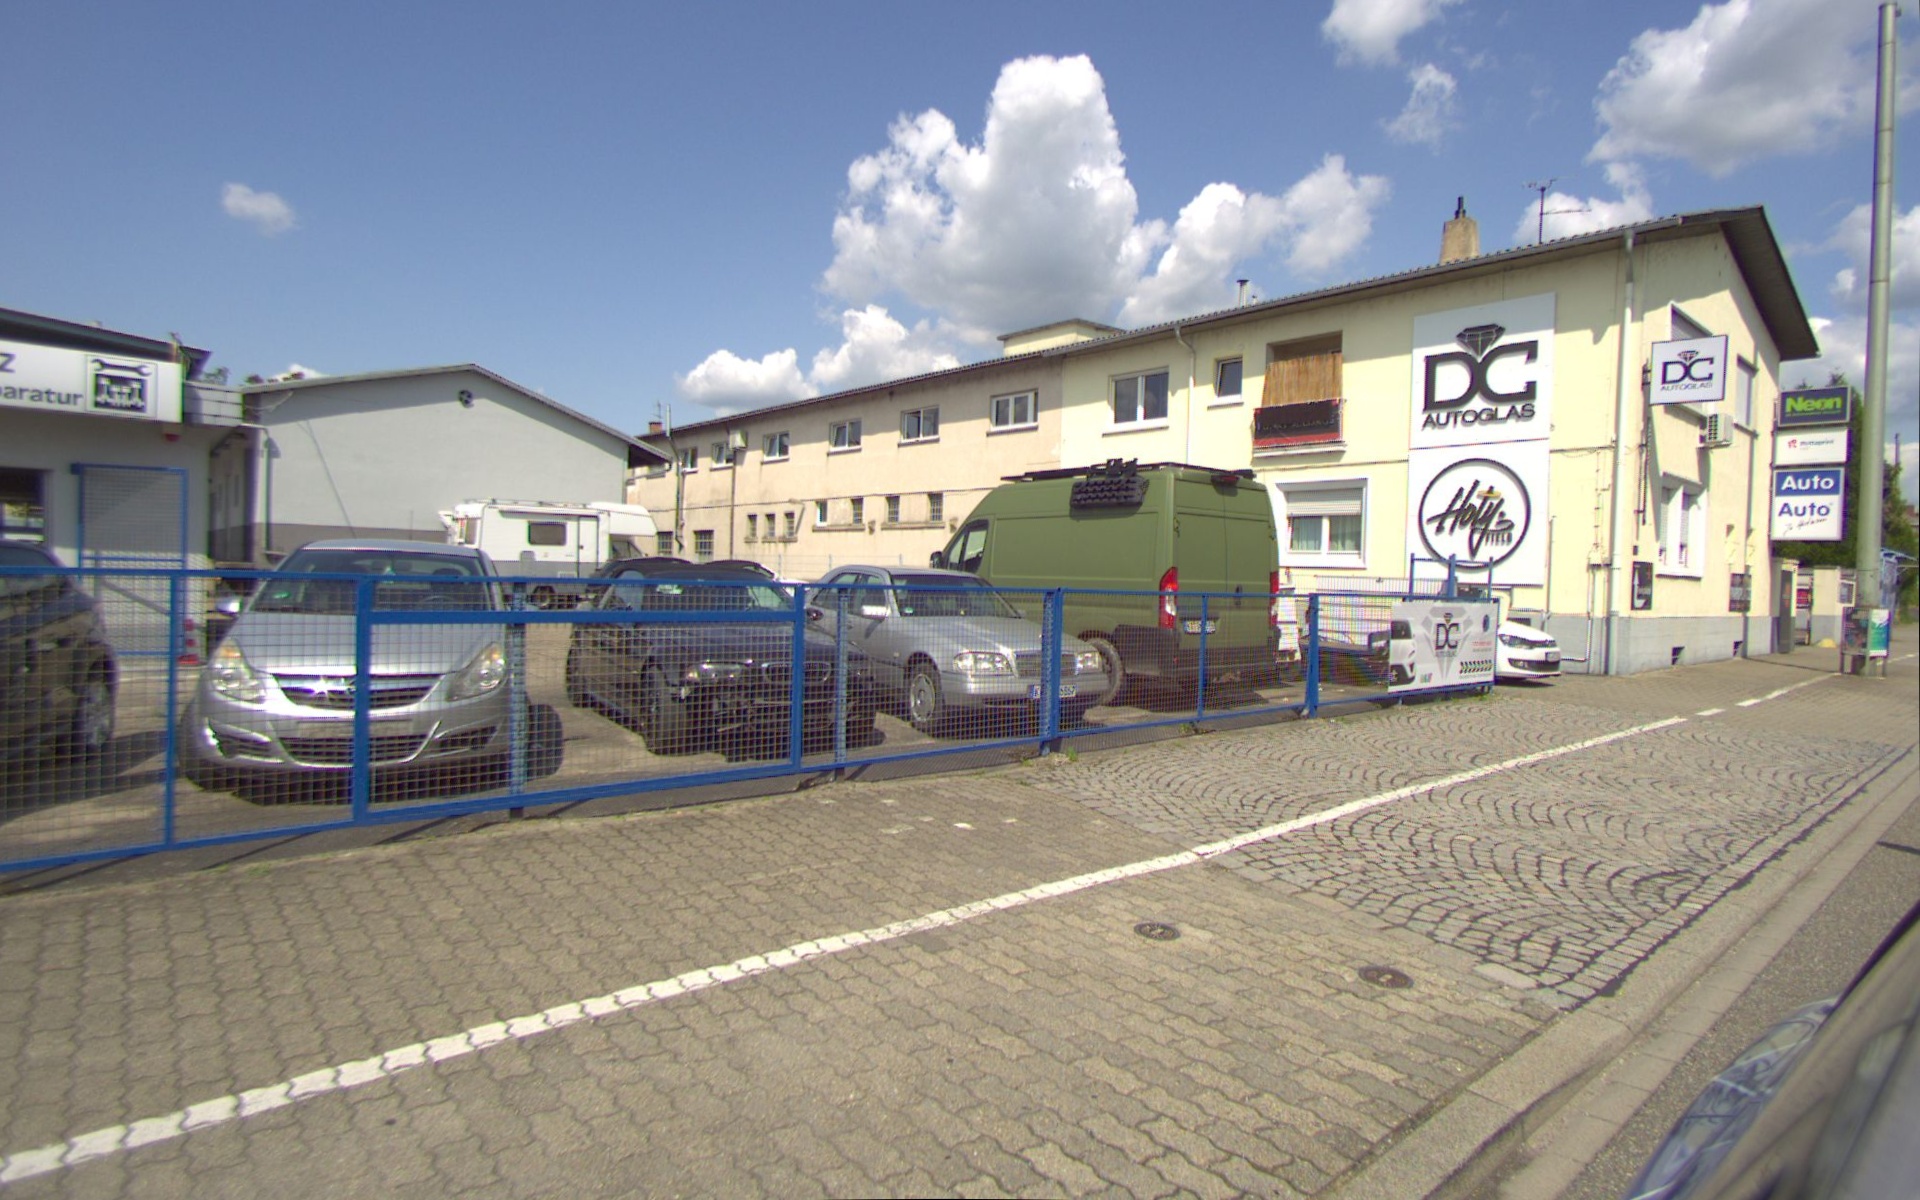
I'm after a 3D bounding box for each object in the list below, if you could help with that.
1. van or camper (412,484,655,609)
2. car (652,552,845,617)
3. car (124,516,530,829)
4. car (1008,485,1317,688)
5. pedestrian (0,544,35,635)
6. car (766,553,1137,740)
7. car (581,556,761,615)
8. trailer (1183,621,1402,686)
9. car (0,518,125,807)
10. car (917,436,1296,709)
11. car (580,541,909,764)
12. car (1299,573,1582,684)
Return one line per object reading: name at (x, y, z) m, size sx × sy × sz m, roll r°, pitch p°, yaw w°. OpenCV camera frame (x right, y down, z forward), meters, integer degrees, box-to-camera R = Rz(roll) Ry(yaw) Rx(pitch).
van or camper at (-11.302, -1.321, 27.108) m, size 5.556 × 3.002 × 2.272 m, roll 0°, pitch 2°, yaw -42°
car at (-4.842, -0.345, 23.545) m, size 4.112 × 1.378 × 1.645 m, roll 0°, pitch 2°, yaw -41°
car at (-3.897, 0.283, 6.837) m, size 1.736 × 1.470 × 3.778 m, roll 1°, pitch 2°, yaw -24°
car at (2.671, -0.243, 14.262) m, size 1.557 × 2.436 × 4.208 m, roll 1°, pitch 2°, yaw -39°
pedestrian at (-13.160, -0.154, 13.878) m, size 0.652 × 1.224 × 0.566 m, roll 1°, pitch 1°, yaw -39°
car at (-0.337, 0.290, 10.200) m, size 1.679 × 1.470 × 4.292 m, roll 1°, pitch 2°, yaw -33°
car at (-7.305, -0.355, 25.808) m, size 4.112 × 1.378 × 1.645 m, roll 0°, pitch 2°, yaw -41°
trailer at (4.751, 0.728, 14.647) m, size 1.307 × 0.674 × 2.730 m, roll 0°, pitch 2°, yaw -42°
car at (-5.633, 0.307, 4.867) m, size 1.606 × 1.470 × 3.700 m, roll 1°, pitch 2°, yaw -25°
car at (1.589, -0.347, 12.253) m, size 2.075 × 2.675 × 4.208 m, roll 1°, pitch 2°, yaw -39°
car at (-2.127, 0.277, 8.894) m, size 1.737 × 1.470 × 4.128 m, roll 1°, pitch 2°, yaw -28°
car at (7.536, 0.364, 16.175) m, size 1.527 × 1.481 × 3.775 m, roll 1°, pitch 2°, yaw -39°
